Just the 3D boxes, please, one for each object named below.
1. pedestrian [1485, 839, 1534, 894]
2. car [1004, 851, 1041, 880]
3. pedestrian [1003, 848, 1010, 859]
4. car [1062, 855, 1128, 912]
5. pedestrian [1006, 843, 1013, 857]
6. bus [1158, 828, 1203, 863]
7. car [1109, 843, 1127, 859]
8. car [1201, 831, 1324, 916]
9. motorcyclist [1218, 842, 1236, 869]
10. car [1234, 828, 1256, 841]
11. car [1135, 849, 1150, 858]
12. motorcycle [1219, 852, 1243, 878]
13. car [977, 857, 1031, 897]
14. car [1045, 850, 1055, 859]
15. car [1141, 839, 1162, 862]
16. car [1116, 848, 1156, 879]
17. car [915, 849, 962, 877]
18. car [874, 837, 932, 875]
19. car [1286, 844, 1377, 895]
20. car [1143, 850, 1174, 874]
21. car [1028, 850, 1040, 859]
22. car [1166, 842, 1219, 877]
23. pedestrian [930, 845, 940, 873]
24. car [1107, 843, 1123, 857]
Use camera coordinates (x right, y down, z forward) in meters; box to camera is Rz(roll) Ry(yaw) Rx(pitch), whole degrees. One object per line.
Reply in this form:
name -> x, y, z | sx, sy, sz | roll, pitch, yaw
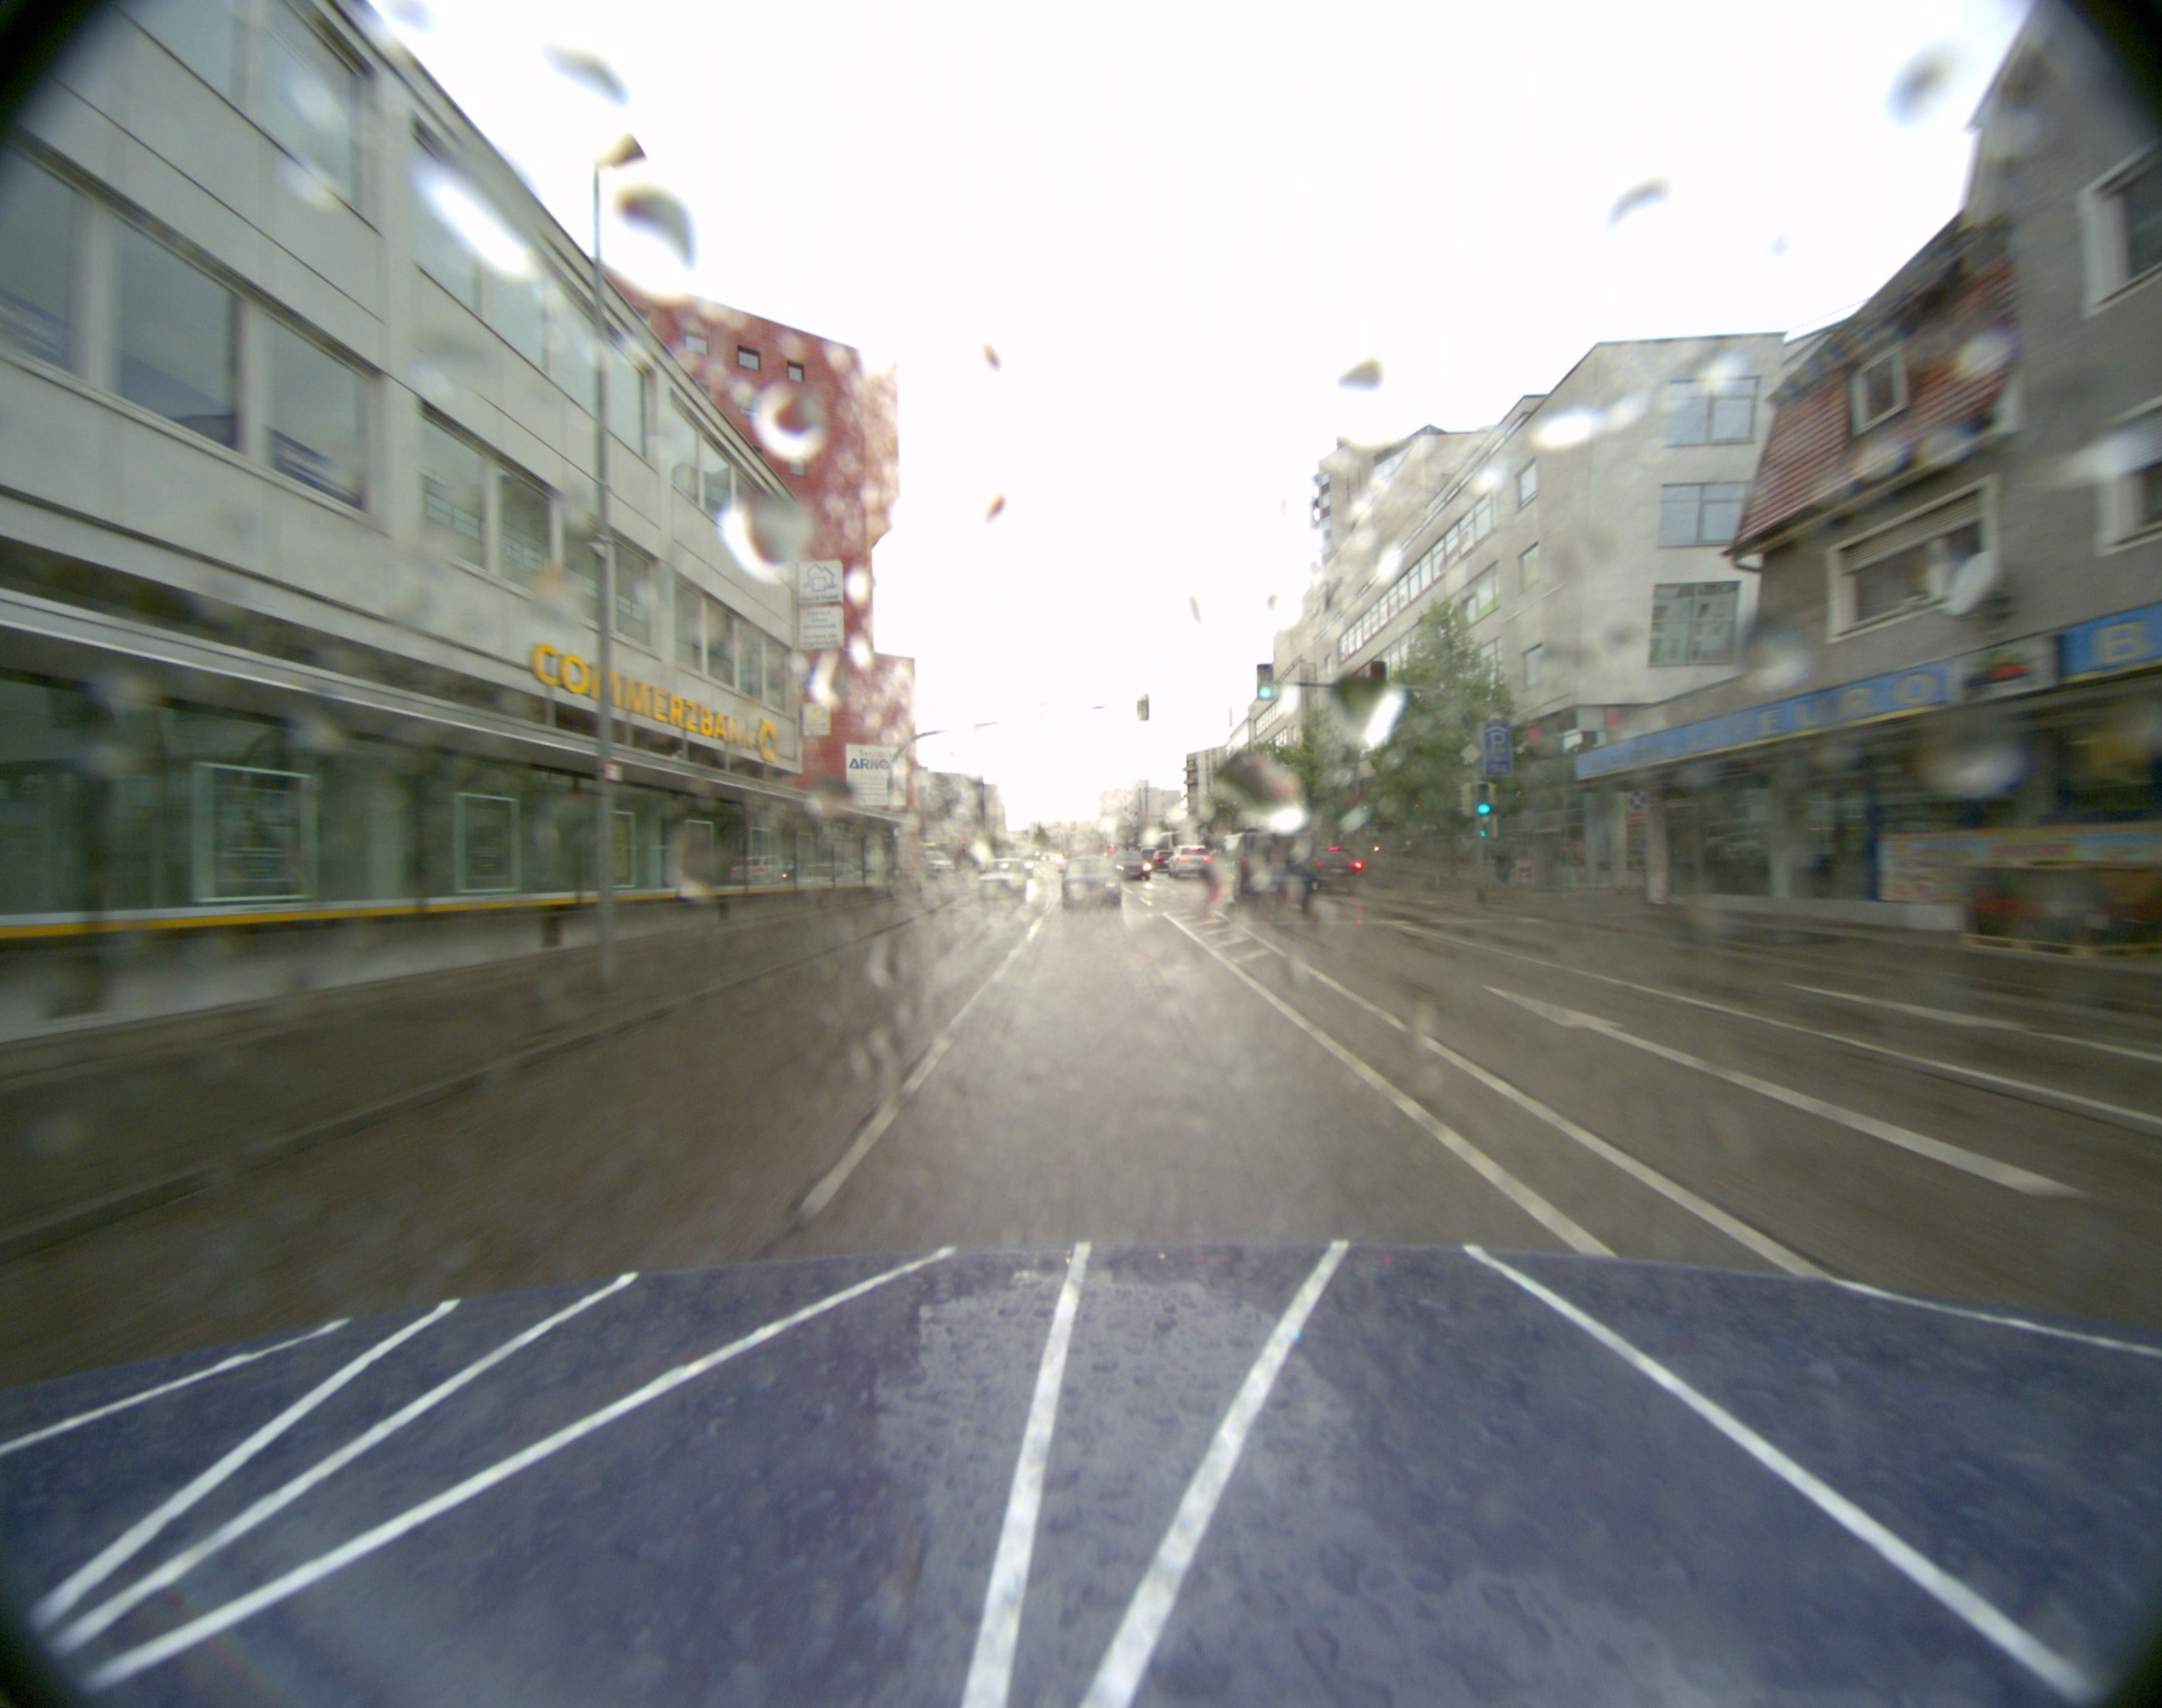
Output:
pedestrian -> 14.210, 0.387, 25.209 | 0.927, 1.778, 1.233 | -1, 1, 0
car -> -3.551, 0.665, 46.846 | 2.058, 1.638, 4.478 | -1, 1, -2
pedestrian -> -9.528, -0.102, 96.685 | 0.687, 1.372, 0.772 | 2, 2, 7
car -> 0.350, 0.776, 21.817 | 1.688, 1.373, 3.792 | -2, 1, -1
pedestrian -> -9.256, -0.498, 97.724 | 0.687, 1.793, 0.797 | 2, 2, 7
bus -> 9.392, -0.856, 73.005 | 2.899, 3.081, 11.997 | -1, 1, 1
car -> 4.459, -0.396, 92.237 | 1.867, 1.780, 3.999 | 1, 1, -1
car -> 4.614, 0.401, 20.148 | 1.971, 1.927, 5.178 | -1, 1, -1
motorcyclist -> 7.870, 0.069, 40.943 | 0.787, 1.448, 1.139 | -1, 1, 2
car -> 17.770, -2.087, 82.398 | 1.757, 1.402, 3.730 | -1, 1, 2
car -> 8.808, -0.077, 108.807 | 1.901, 1.249, 4.193 | -1, 1, 0
motorcycle -> 7.920, 0.545, 40.132 | 0.909, 1.276, 2.185 | -1, 1, 2
car -> -2.847, 0.820, 28.719 | 1.662, 1.300, 3.994 | -1, 1, -1
car -> -4.820, 0.045, 117.762 | 1.394, 1.316, 2.861 | -1, 1, -1
car -> 6.238, -0.331, 67.482 | 1.637, 2.002, 4.284 | -1, 1, 2
car -> 2.803, 0.437, 39.389 | 1.720, 1.442, 4.197 | -1, 1, -1
car -> -7.986, 0.462, 42.344 | 1.618, 1.453, 3.415 | -1, 1, -28
car -> -11.462, 0.186, 48.688 | 2.011, 2.195, 4.864 | 1, -3, -34
car -> 8.879, 0.474, 27.352 | 2.005, 1.608, 4.949 | -1, 1, 5
car -> 5.156, 0.507, 50.906 | 1.762, 1.426, 4.380 | -1, 1, 2
car -> -6.120, 0.068, 100.085 | 1.326, 1.178, 2.822 | -1, 1, 2
car -> 5.863, 0.251, 40.534 | 2.104, 1.702, 4.848 | -1, 1, -1
pedestrian -> -9.523, 0.333, 49.623 | 0.595, 1.756, 0.600 | -1, 0, -6
car -> 3.768, -0.488, 85.234 | 1.711, 1.508, 4.391 | -1, 1, 1
